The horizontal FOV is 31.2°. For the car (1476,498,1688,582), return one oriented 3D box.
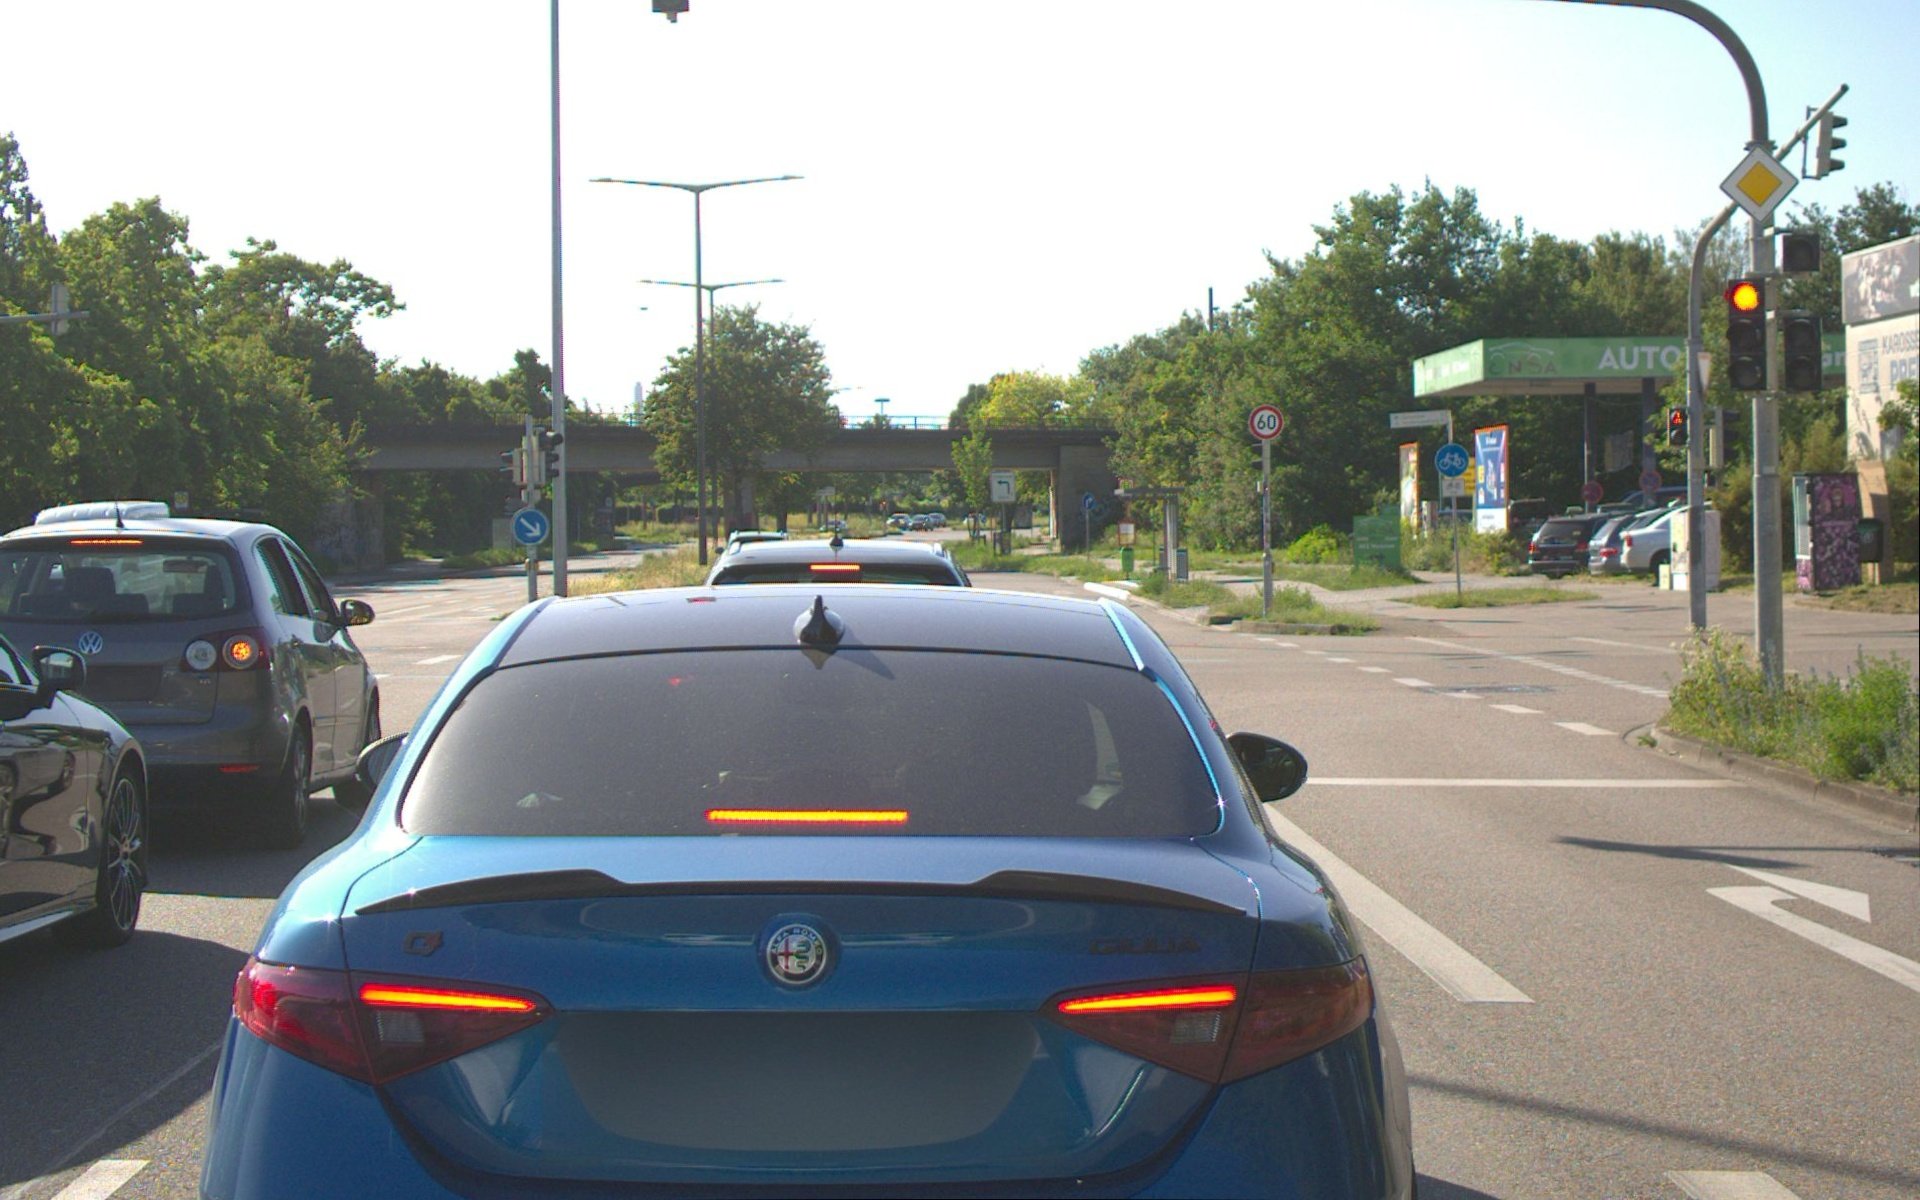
[{"bbox_3d":[12.829,-1.241,70.973,3.986,1.700,1.696,-1,1,-19],"label":"car"}]

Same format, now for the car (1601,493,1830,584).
[{"bbox_3d":[14.520,-1.188,66.117,3.986,1.700,1.696,-1,1,-16],"label":"car"}]

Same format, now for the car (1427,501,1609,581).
[{"bbox_3d":[12.029,-1.278,74.164,3.483,1.700,1.696,-1,1,-16],"label":"car"}]

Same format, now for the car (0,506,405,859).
[{"bbox_3d":[-3.959,0.334,17.557,1.648,1.593,3.932,0,1,-1],"label":"car"}]

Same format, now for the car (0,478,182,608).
[{"bbox_3d":[-17.054,-1.141,67.194,2.431,2.418,5.831,0,1,-1],"label":"car"}]

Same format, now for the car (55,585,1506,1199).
[{"bbox_3d":[-0.254,0.700,6.401,1.866,1.380,3.932,0,1,-1],"label":"car"}]

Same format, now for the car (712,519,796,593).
[{"bbox_3d":[-4.581,-1.001,76.818,1.818,1.589,4.051,0,1,-3],"label":"car"}]

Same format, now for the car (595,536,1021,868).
[{"bbox_3d":[-0.692,0.415,17.089,1.866,1.445,3.932,0,1,-1],"label":"car"}]

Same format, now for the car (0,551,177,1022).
[{"bbox_3d":[-3.799,0.574,10.651,1.768,1.409,4.461,0,1,-1],"label":"car"}]
